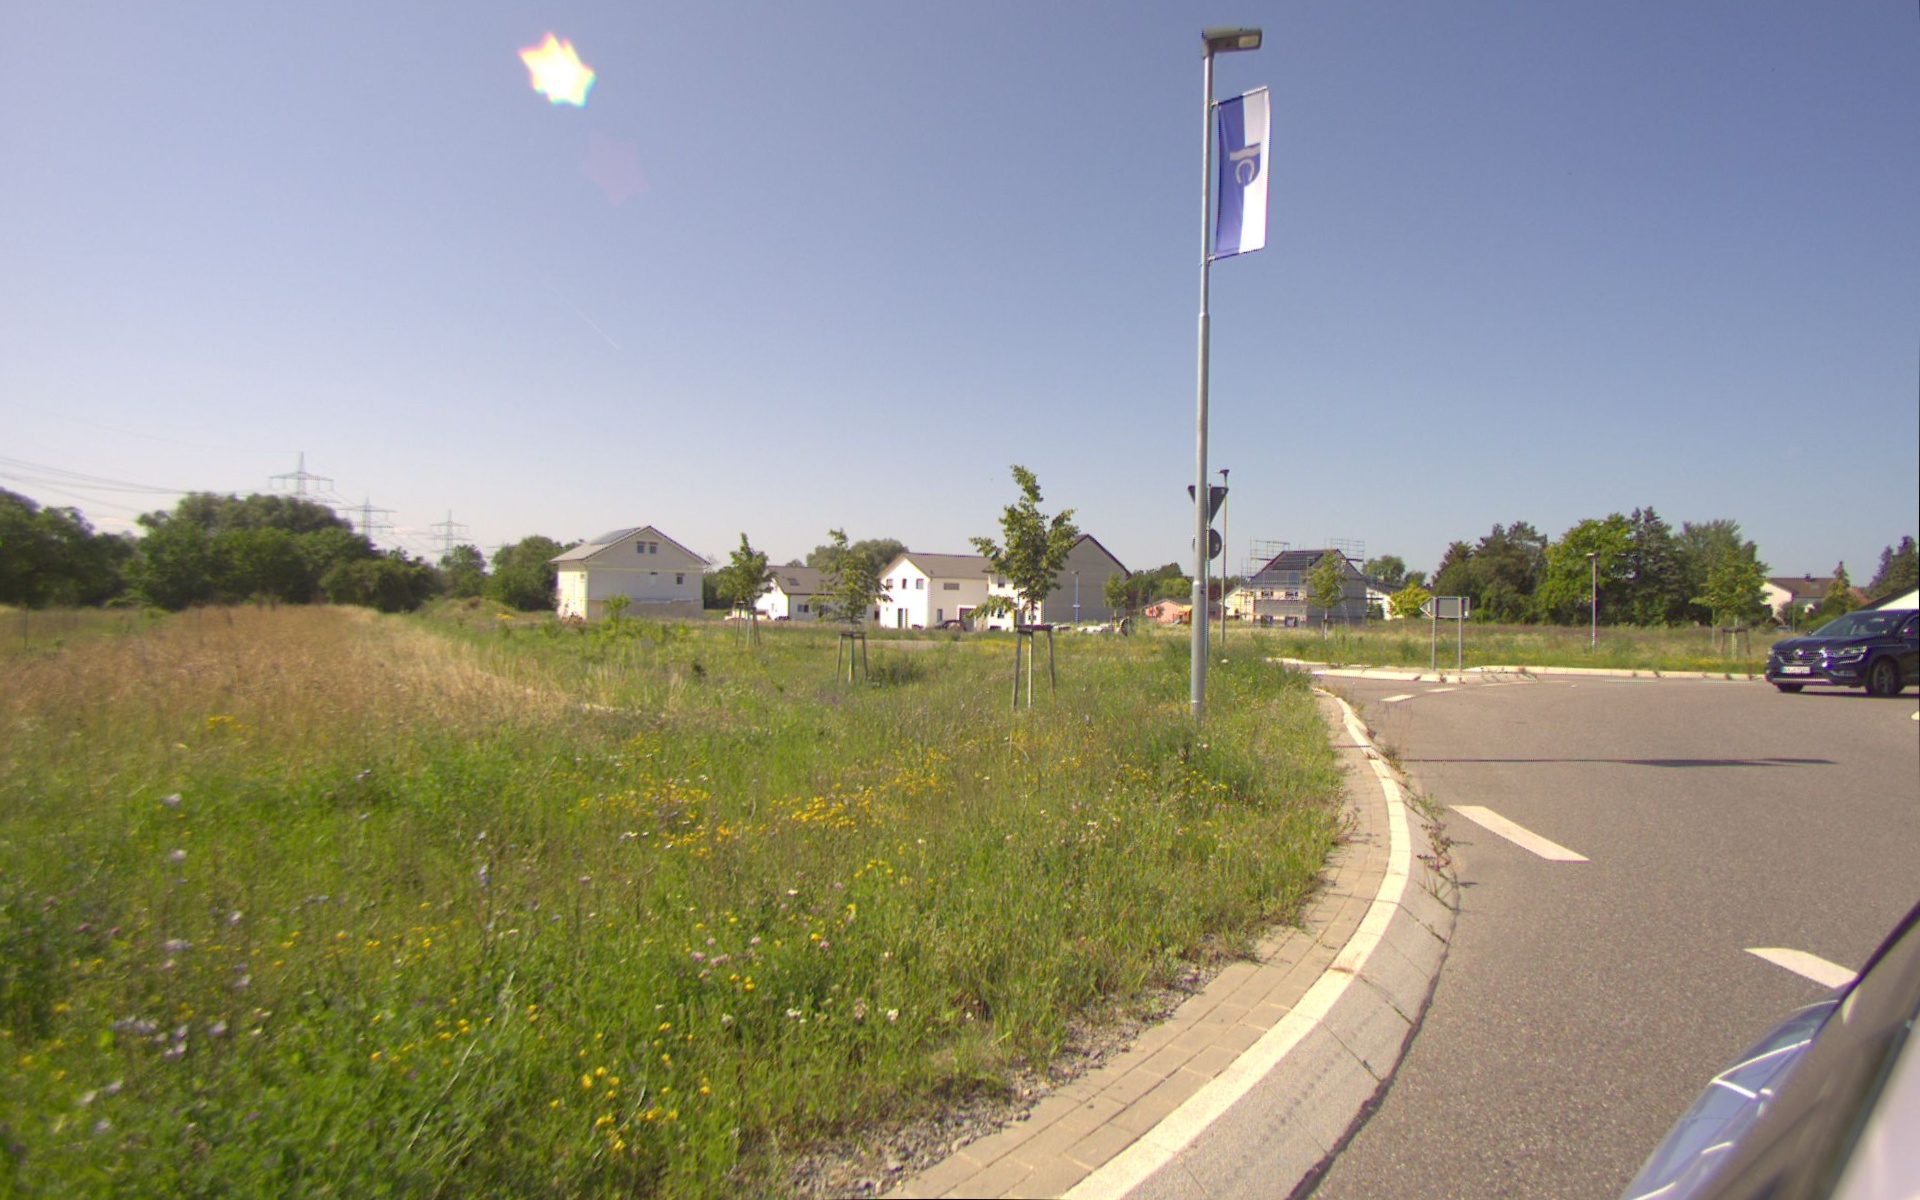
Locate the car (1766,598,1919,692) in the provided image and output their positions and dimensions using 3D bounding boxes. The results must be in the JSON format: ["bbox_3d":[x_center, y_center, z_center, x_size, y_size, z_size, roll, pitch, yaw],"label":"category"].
[{"bbox_3d":[17.840,0.816,19.364,4.052,1.663,1.785,1,-1,-17],"label":"car"}]

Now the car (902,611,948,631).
[{"bbox_3d":[-3.285,1.945,94.855,3.923,1.817,2.000,1,-1,-34],"label":"car"}]
